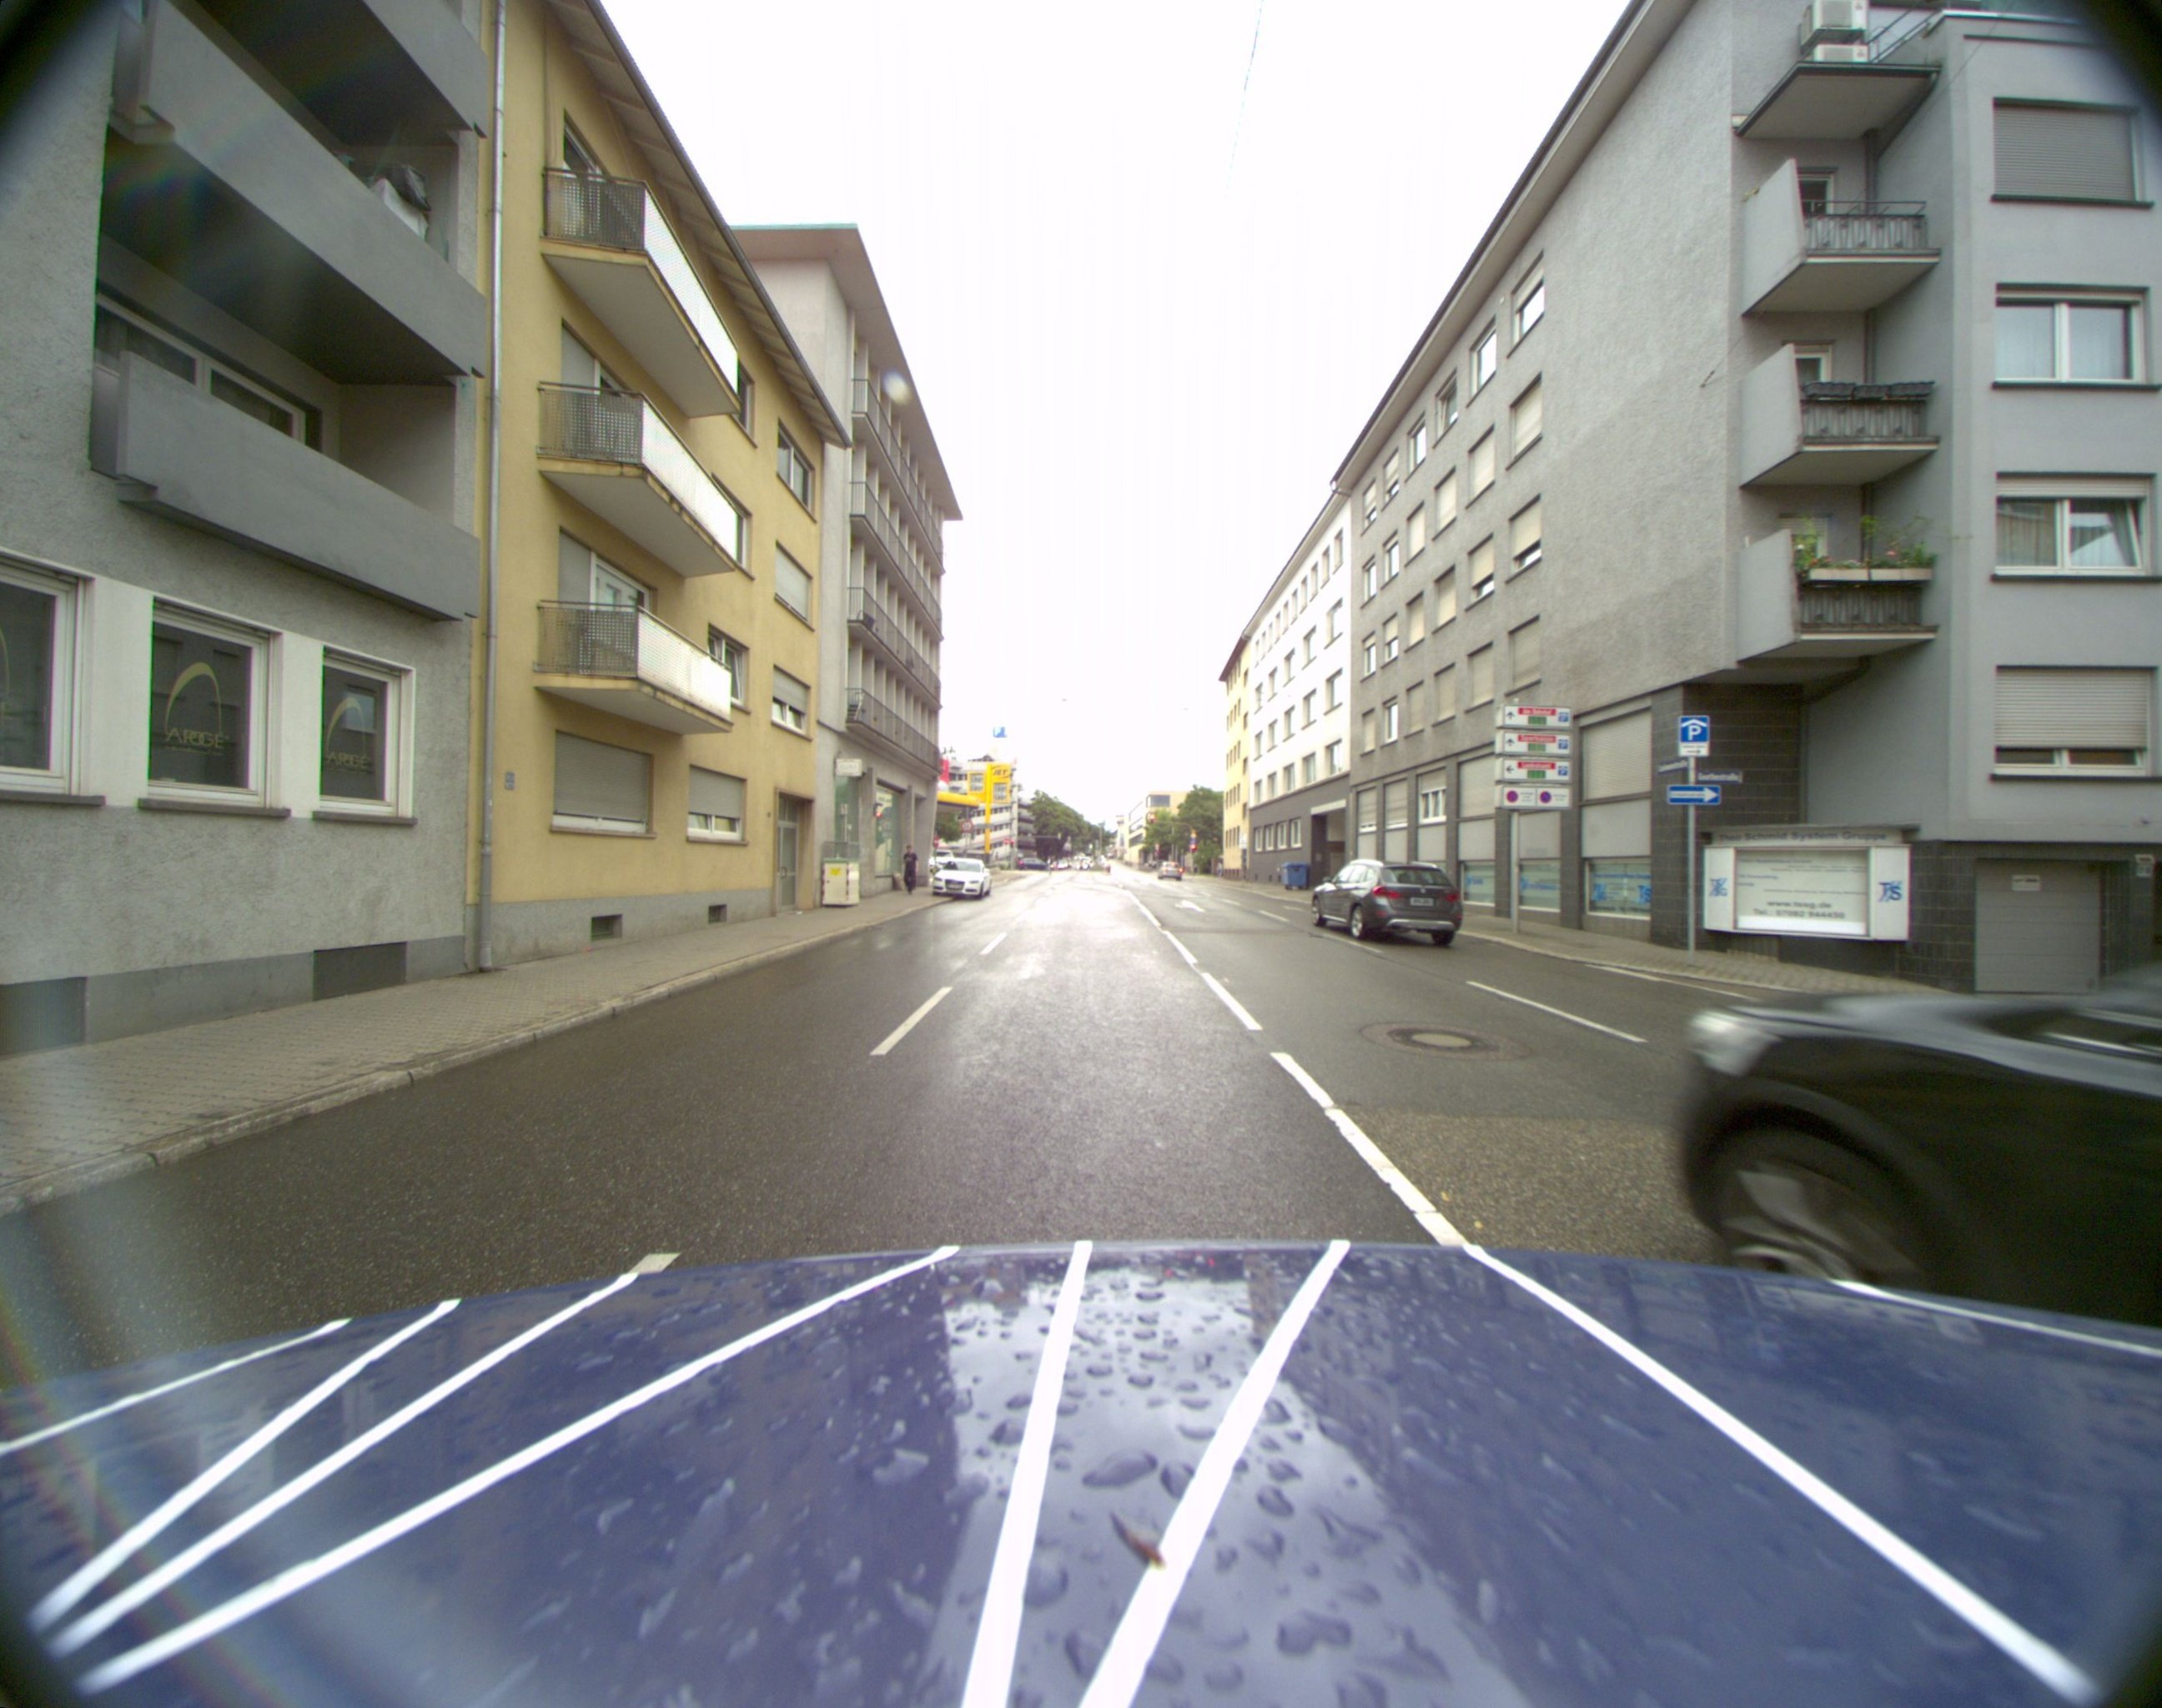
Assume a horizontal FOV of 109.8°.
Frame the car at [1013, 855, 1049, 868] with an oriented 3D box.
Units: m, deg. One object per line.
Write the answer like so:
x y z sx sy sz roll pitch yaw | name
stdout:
-6.063 0.950 91.531 4.005 1.499 1.734 1 1 -22 | car

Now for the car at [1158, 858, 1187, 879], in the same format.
7.423 1.162 62.148 1.883 1.580 4.373 0 0 1 | car

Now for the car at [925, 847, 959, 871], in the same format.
-9.171 0.327 50.422 1.771 1.465 3.998 -2 0 -5 | car

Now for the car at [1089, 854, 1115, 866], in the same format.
3.396 0.990 120.335 3.995 1.736 2.000 -2 1 5 | car

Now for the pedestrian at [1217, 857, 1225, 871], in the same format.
12.175 0.890 66.174 0.581 1.143 0.408 3 1 25 | pedestrian

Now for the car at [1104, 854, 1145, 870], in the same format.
4.205 0.789 73.857 3.996 1.499 1.738 1 1 2 | car

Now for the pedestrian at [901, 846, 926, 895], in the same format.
-6.056 0.578 27.484 0.679 1.745 0.888 1 1 2 | pedestrian

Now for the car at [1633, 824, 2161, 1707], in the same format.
2.916 0.847 0.462 1.841 1.717 4.474 3 0 0 | car

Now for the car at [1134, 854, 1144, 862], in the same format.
13.692 0.924 180.061 1.998 1.683 4.000 -2 1 2 | car

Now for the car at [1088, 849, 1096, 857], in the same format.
2.834 -0.272 197.900 1.998 2.002 3.999 -2 1 1 | car

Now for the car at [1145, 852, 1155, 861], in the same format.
15.463 0.589 170.071 1.998 1.863 3.999 -2 1 0 | car

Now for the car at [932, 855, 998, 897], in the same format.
-4.362 0.790 29.084 1.803 1.427 4.166 1 0 1 | car

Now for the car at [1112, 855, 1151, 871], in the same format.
5.182 0.901 78.180 3.996 1.499 1.738 1 1 2 | car

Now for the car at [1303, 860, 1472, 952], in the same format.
6.020 0.938 15.478 1.707 1.498 4.159 3 0 0 | car

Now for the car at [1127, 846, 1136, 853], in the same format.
12.867 -1.109 192.909 1.998 1.683 4.000 -2 1 2 | car

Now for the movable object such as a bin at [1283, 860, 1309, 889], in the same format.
10.408 0.997 36.815 0.946 1.325 1.096 -3 1 1 | movable object such as a bin

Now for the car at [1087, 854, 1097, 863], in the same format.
2.178 0.875 153.633 1.998 1.736 3.999 -2 1 0 | car

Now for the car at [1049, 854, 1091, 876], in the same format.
-0.993 0.990 70.120 3.794 1.823 1.692 -3 0 2 | car

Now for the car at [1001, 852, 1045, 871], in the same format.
-5.839 0.733 76.404 3.994 1.751 2.001 1 1 9 | car
